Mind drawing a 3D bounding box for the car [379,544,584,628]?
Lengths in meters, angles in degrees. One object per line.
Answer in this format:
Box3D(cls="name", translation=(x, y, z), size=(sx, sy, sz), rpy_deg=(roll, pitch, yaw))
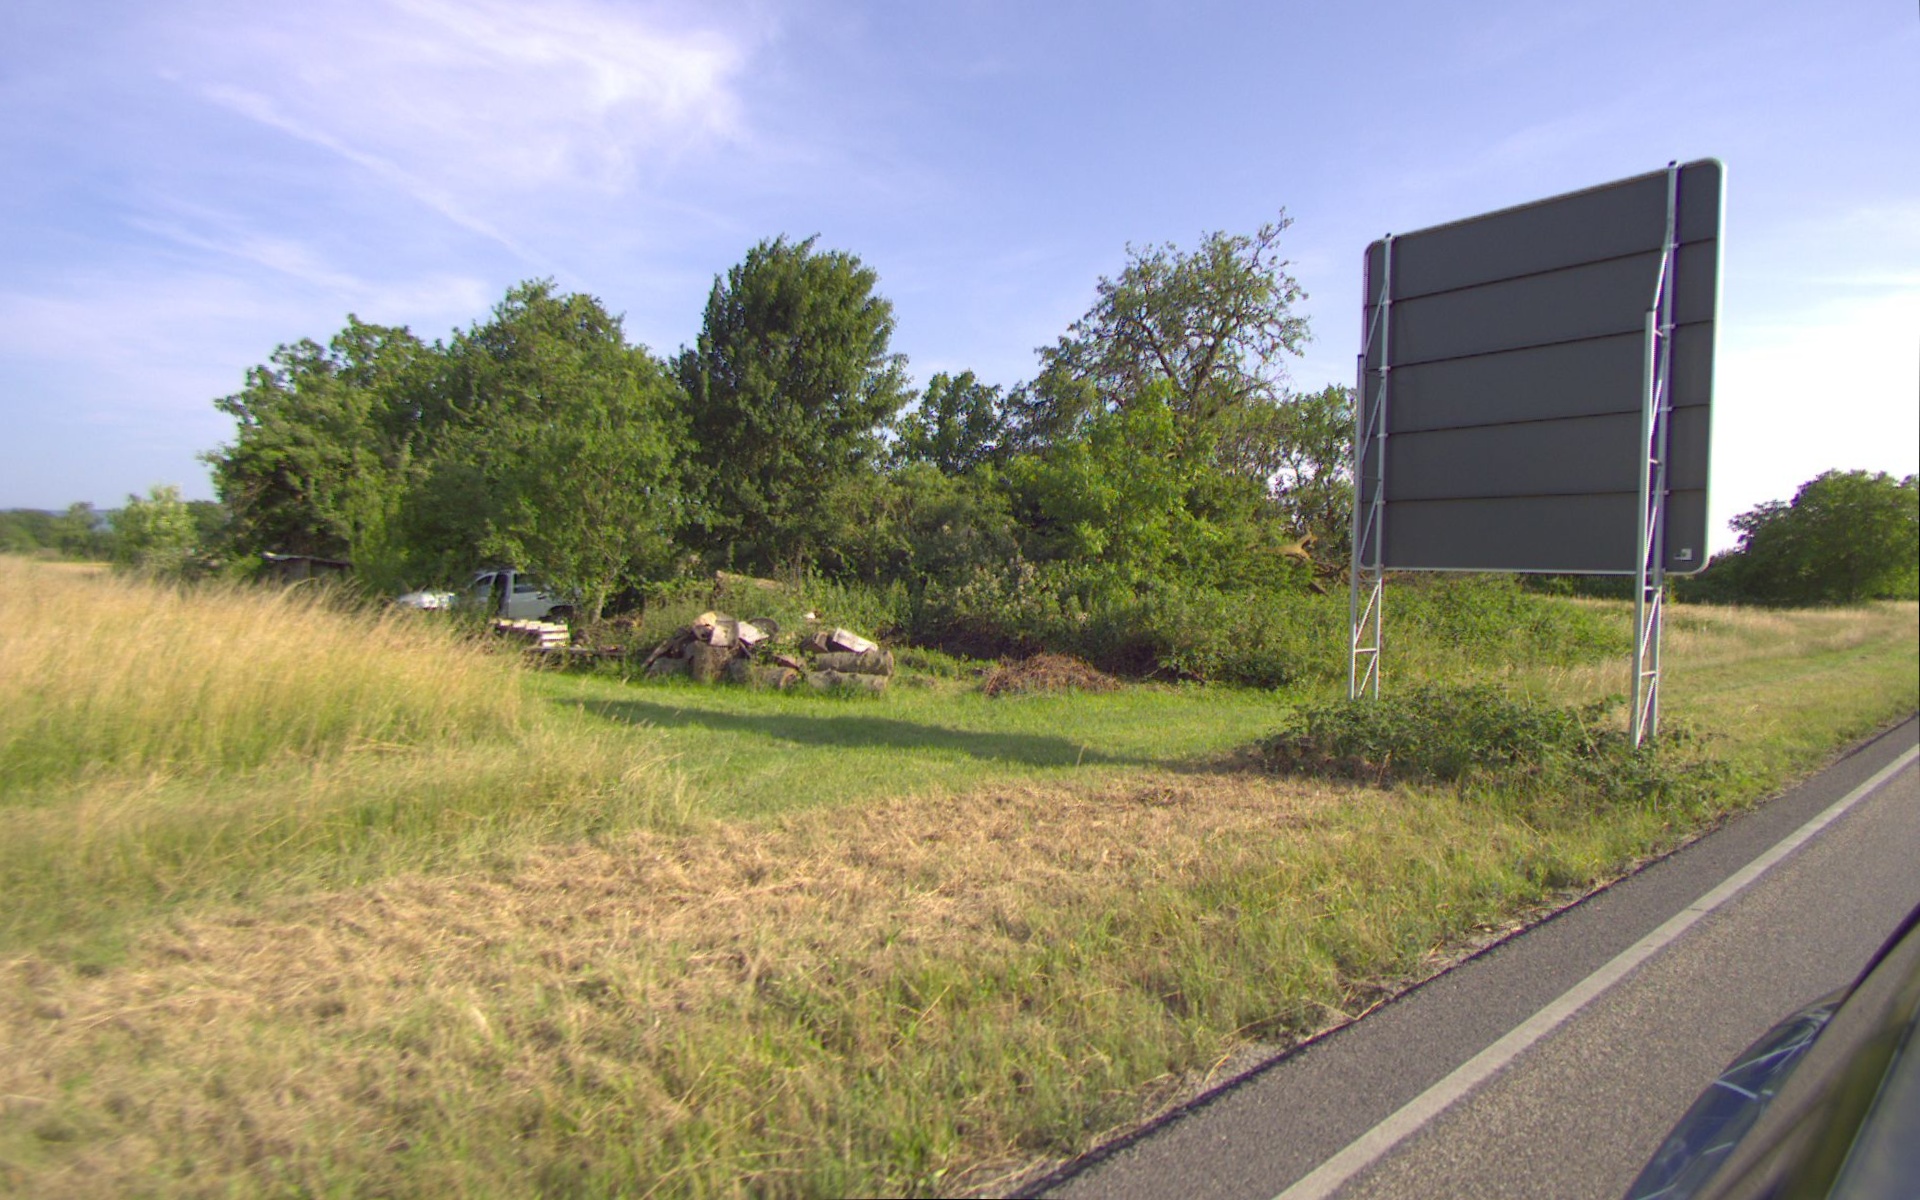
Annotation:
Box3D(cls="car", translation=(-11.050, -0.322, 23.489), size=(3.930, 1.772, 1.997), rpy_deg=(0, 1, -41))
